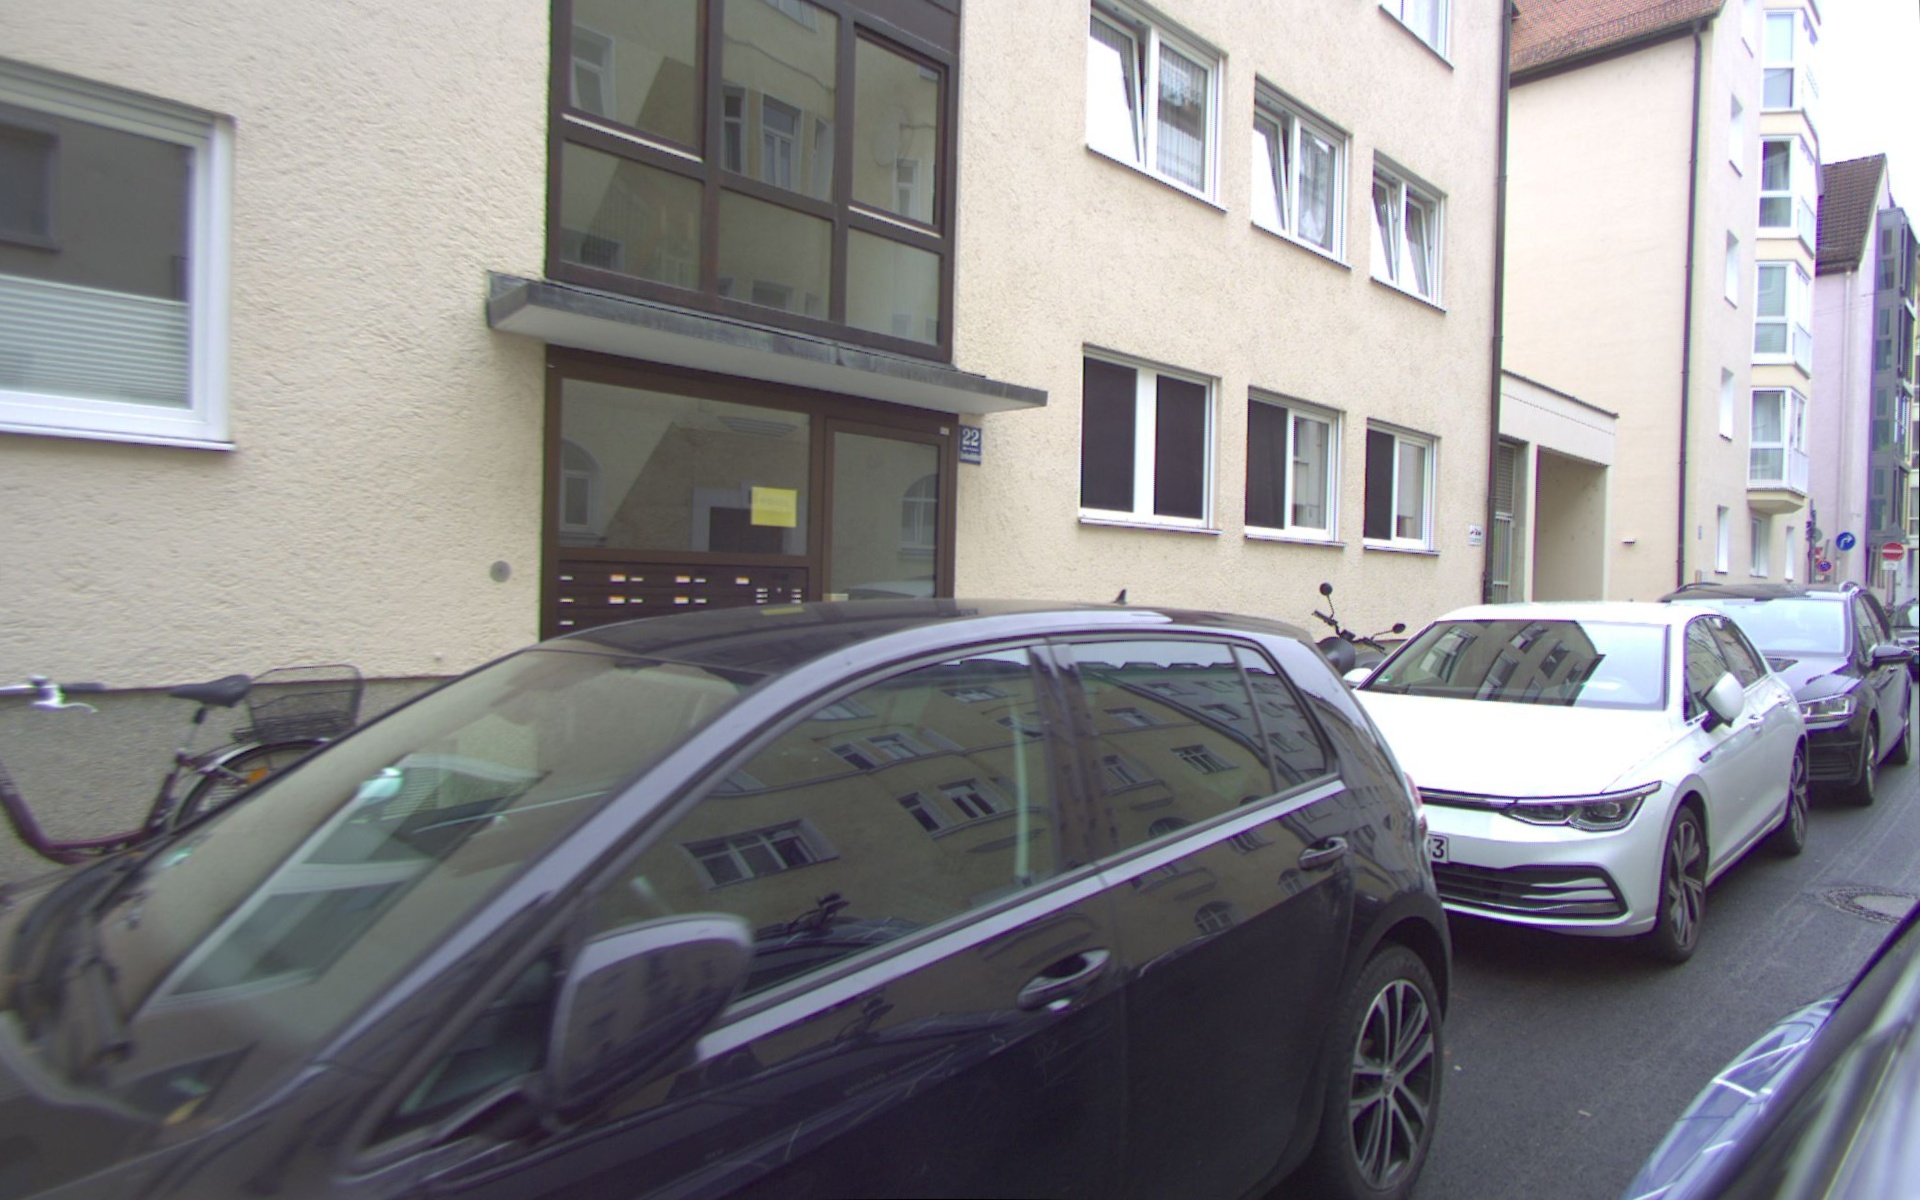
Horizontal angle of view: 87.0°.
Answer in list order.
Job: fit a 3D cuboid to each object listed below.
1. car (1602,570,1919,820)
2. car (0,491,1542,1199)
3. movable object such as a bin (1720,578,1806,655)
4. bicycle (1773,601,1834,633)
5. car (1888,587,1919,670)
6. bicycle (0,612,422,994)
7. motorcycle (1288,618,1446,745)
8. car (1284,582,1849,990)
[{"bbox_3d":[7.032,0.588,8.680,4.175,1.628,1.712,-1,1,-45],"label":"car"},{"bbox_3d":[-0.378,0.655,2.190,4.173,1.504,1.713,-1,1,-43],"label":"car"},{"bbox_3d":[16.259,0.311,20.479,1.559,1.440,1.034,-1,4,-41],"label":"movable object such as a bin"},{"bbox_3d":[27.141,0.538,32.561,0.543,0.959,1.449,1,1,-45],"label":"bicycle"},{"bbox_3d":[19.027,0.494,19.287,4.457,1.490,1.718,-1,1,-44],"label":"car"},{"bbox_3d":[-2.961,0.646,3.603,1.730,1.119,0.656,0,5,-42],"label":"bicycle"},{"bbox_3d":[3.727,0.693,9.184,1.878,0.979,0.483,0,5,-42],"label":"motorcycle"},{"bbox_3d":[3.697,0.658,5.797,4.173,1.504,1.713,-1,1,-43],"label":"car"}]
